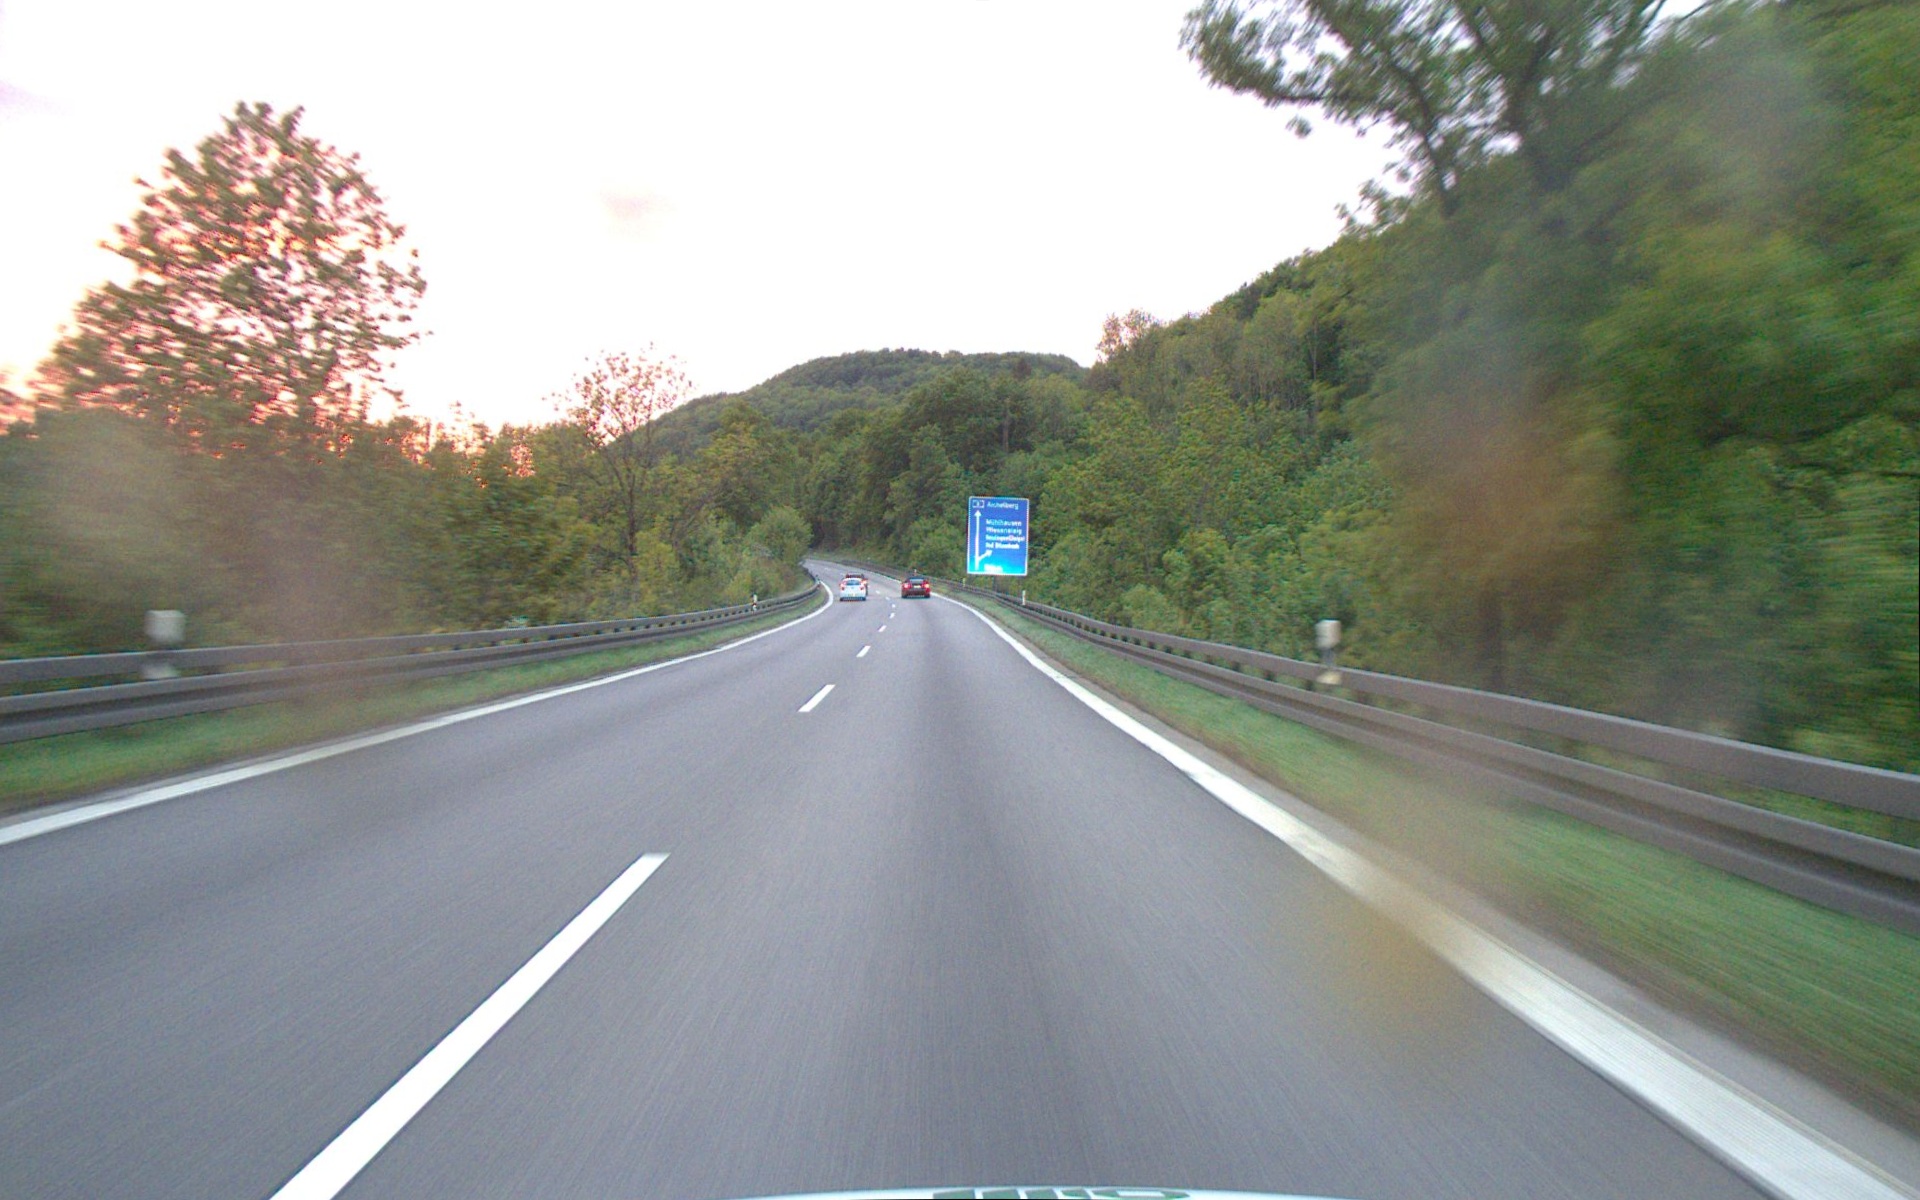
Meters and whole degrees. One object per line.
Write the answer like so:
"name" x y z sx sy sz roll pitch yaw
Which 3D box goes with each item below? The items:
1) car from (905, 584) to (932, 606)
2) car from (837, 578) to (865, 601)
"car" -2.834 -0.333 113.987 1.840 1.492 3.999 0 0 -1
"car" -7.185 -0.684 109.568 1.683 1.527 3.999 0 0 -1
